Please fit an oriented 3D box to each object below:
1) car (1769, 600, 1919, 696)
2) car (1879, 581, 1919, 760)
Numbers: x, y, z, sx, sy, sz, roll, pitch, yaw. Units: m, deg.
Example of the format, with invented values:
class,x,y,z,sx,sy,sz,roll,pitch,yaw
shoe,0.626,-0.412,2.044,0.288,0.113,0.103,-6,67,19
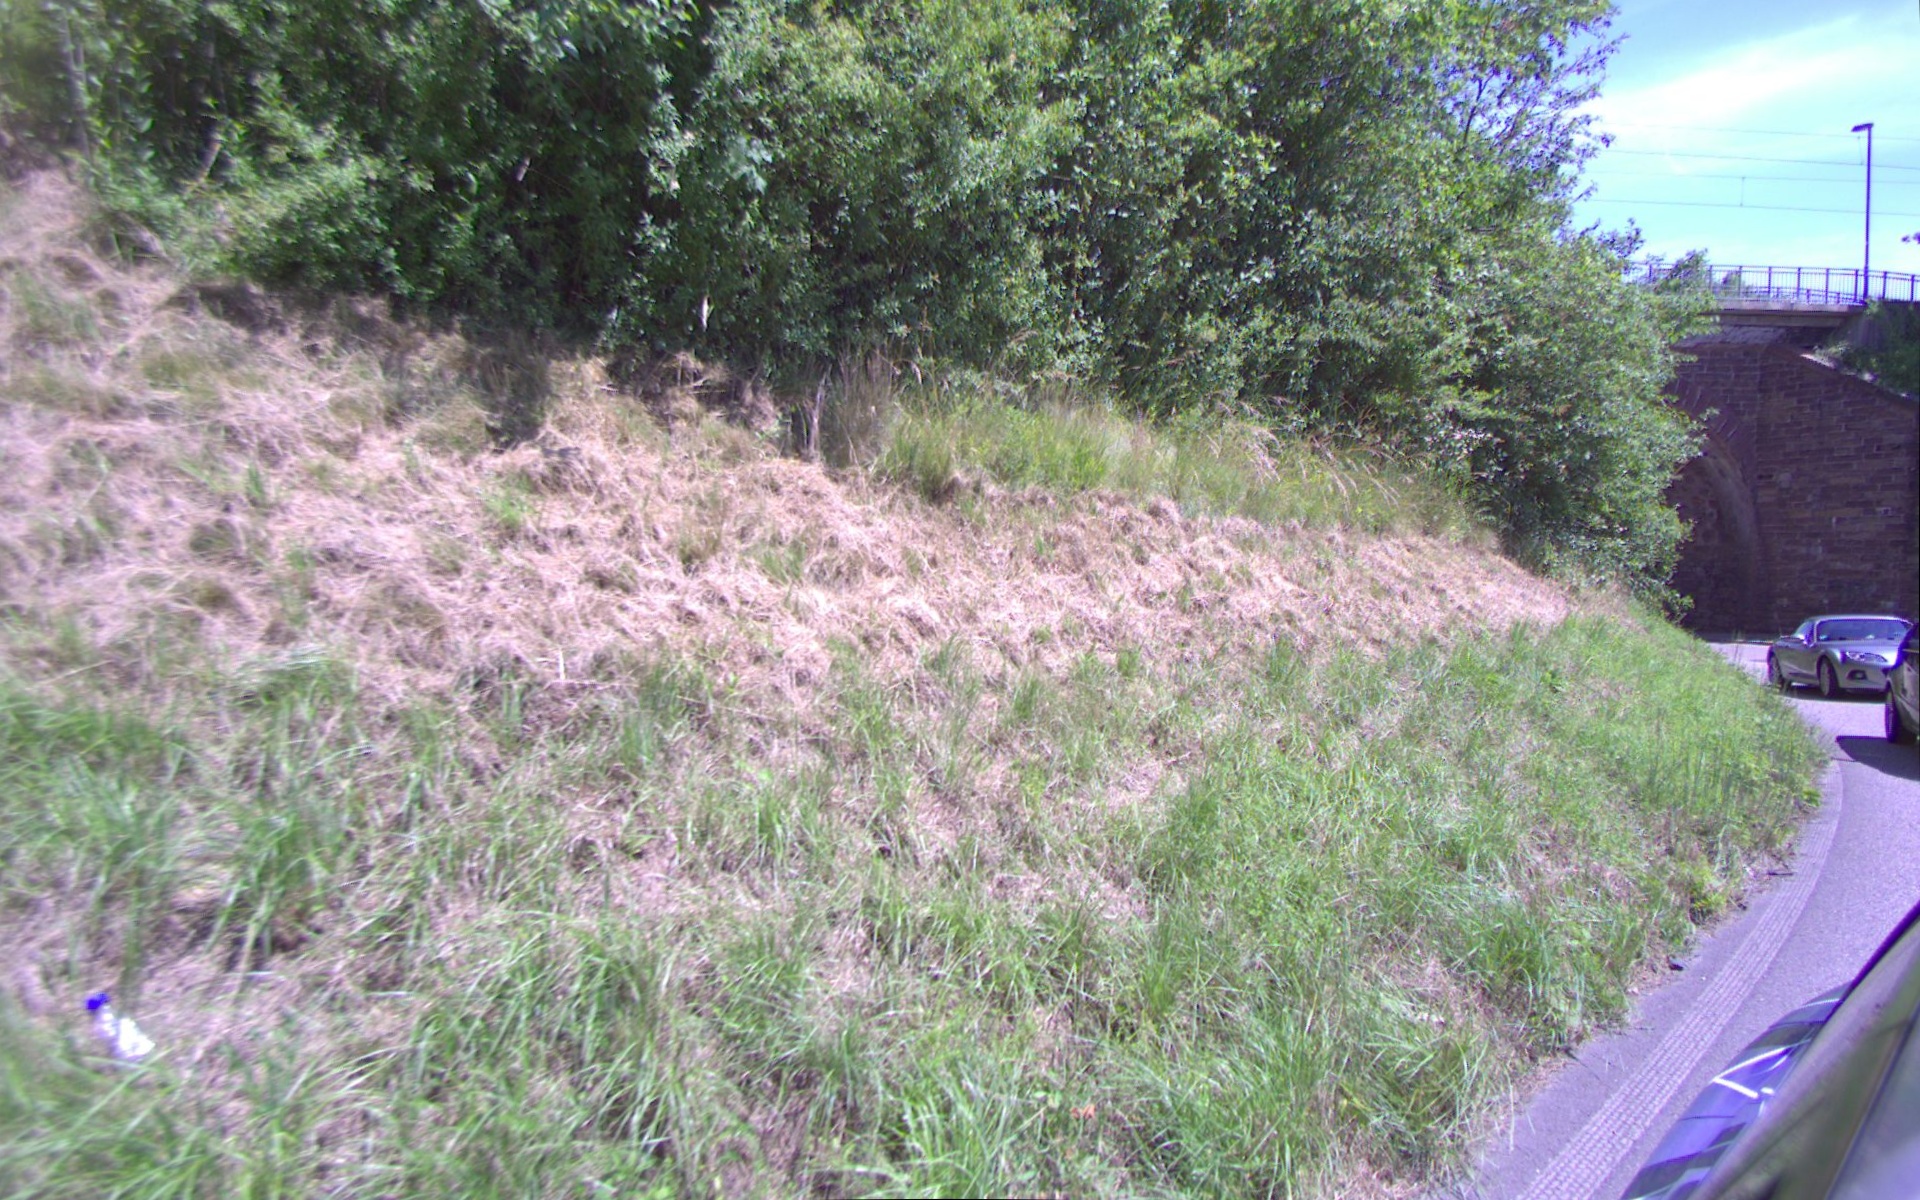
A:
class,x,y,z,sx,sy,sz,roll,pitch,yaw
car,14.052,0.691,15.635,1.631,1.339,3.408,-1,-1,25
car,9.571,0.638,8.889,1.786,1.599,3.750,1,1,36
